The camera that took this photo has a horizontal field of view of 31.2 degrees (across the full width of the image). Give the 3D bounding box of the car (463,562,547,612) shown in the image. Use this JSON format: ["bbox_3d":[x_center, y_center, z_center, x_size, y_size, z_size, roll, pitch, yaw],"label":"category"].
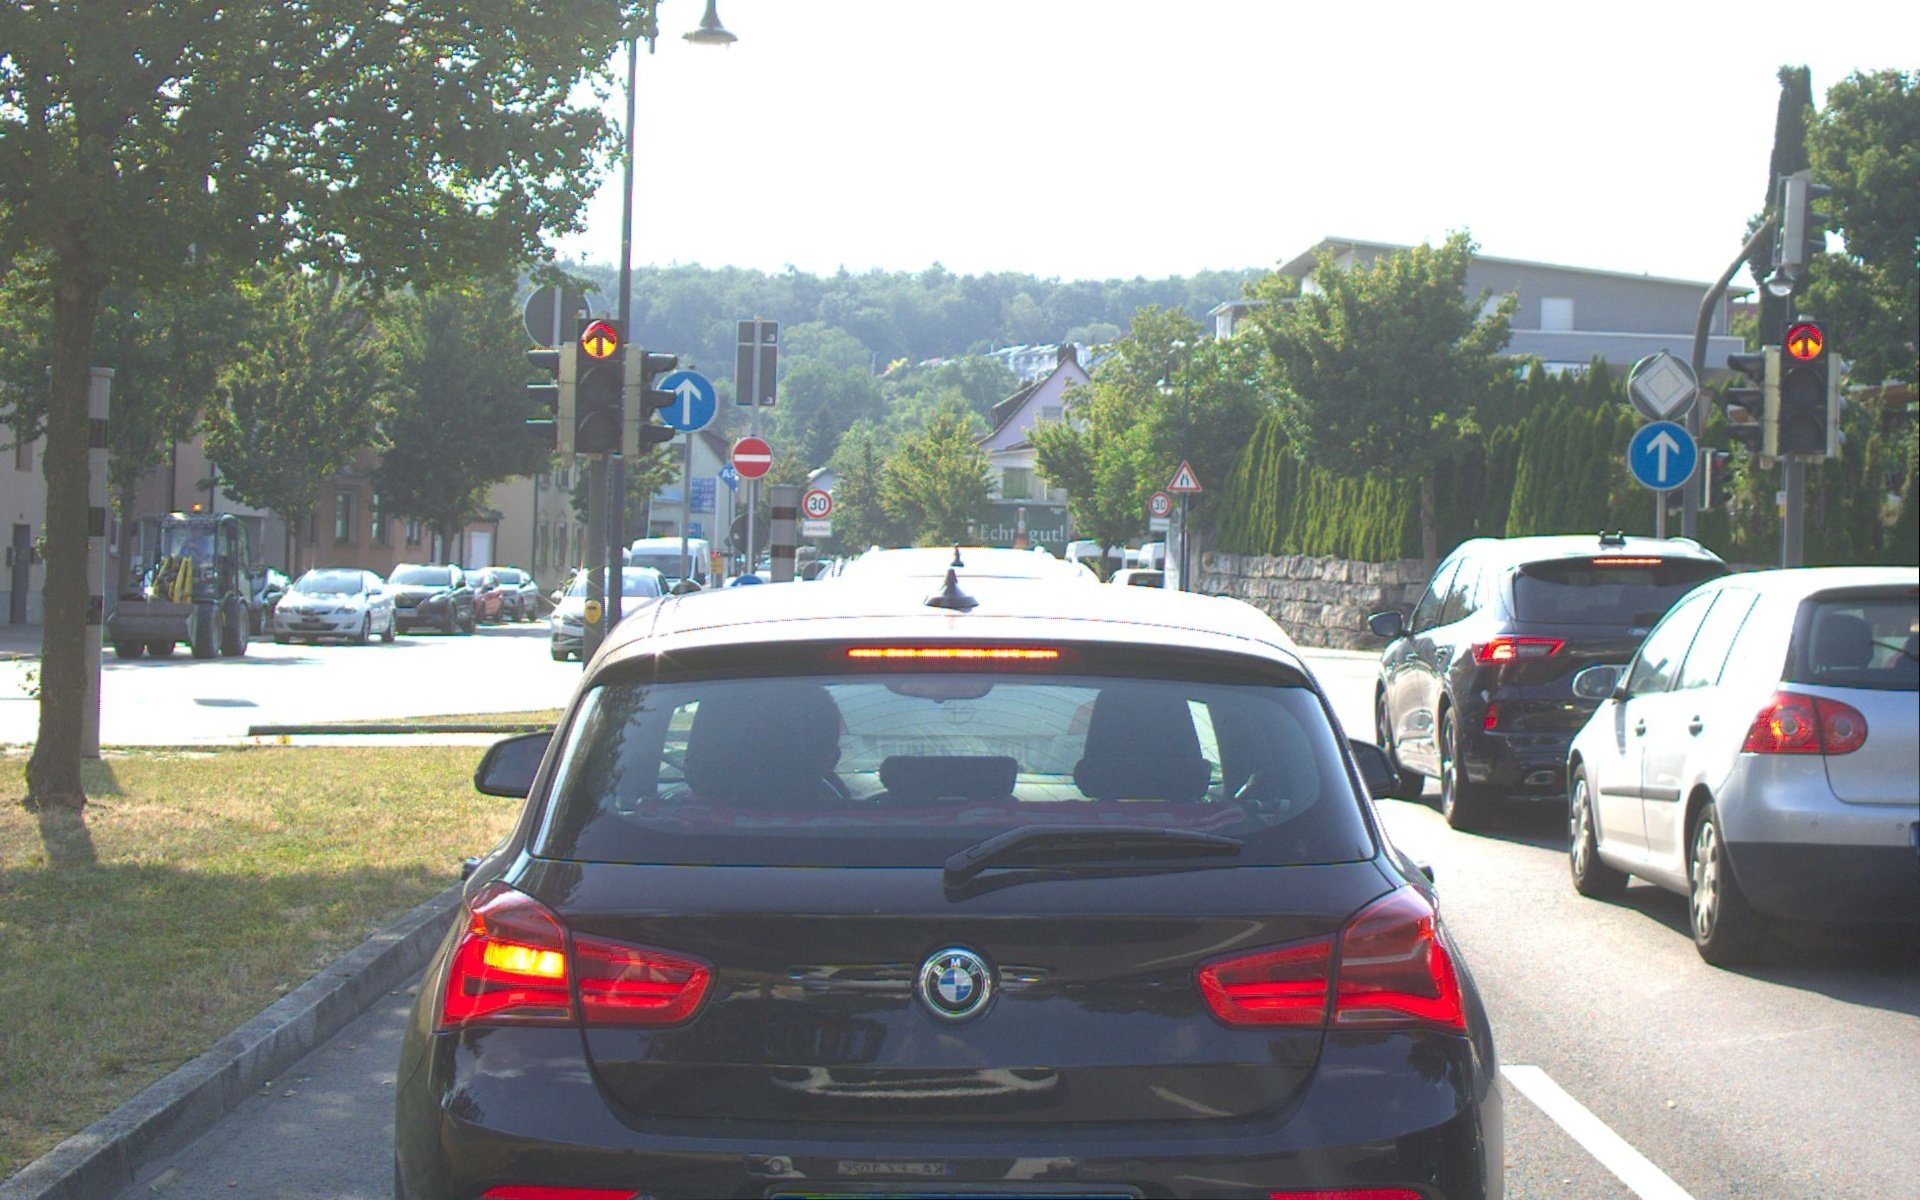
[{"bbox_3d":[-13.596,-0.402,102.875,1.737,1.296,3.799,5,1,2],"label":"car"}]

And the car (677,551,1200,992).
[{"bbox_3d":[-0.070,0.563,14.016,1.788,1.488,4.281,-1,1,0],"label":"car"}]

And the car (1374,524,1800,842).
[{"bbox_3d":[3.532,0.404,20.035,1.761,1.650,3.903,-1,1,0],"label":"car"}]

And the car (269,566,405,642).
[{"bbox_3d":[-12.257,0.062,67.849,1.737,1.296,3.799,5,1,2],"label":"car"}]

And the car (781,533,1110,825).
[{"bbox_3d":[-0.077,0.398,21.055,1.788,1.588,4.281,-1,1,0],"label":"car"}]

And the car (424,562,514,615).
[{"bbox_3d":[-13.854,-0.345,97.177,1.737,1.296,3.799,5,1,2],"label":"car"}]

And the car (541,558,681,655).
[{"bbox_3d":[-5.590,0.079,55.525,1.839,1.477,4.000,1,1,0],"label":"car"}]

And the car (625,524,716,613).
[{"bbox_3d":[-8.092,-0.877,96.643,2.084,2.385,5.529,1,1,0],"label":"car"}]

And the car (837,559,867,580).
[{"bbox_3d":[-7.654,-2.185,243.433,1.737,1.296,3.799,5,1,2],"label":"car"}]

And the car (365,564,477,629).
[{"bbox_3d":[-12.405,-0.096,79.246,1.737,1.296,3.799,5,1,2],"label":"car"}]

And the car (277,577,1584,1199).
[{"bbox_3d":[-0.034,0.684,6.870,1.788,1.393,4.281,-1,1,0],"label":"car"}]

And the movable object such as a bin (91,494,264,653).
[{"bbox_3d":[-12.490,-0.434,55.112,1.736,2.433,4.450,0,1,0],"label":"movable object such as a bin"}]

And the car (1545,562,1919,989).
[{"bbox_3d":[3.559,0.582,13.753,1.761,1.421,3.903,-1,1,0],"label":"car"}]

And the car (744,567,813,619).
[{"bbox_3d":[-5.359,-0.226,101.822,1.839,1.477,4.000,1,1,0],"label":"car"}]
